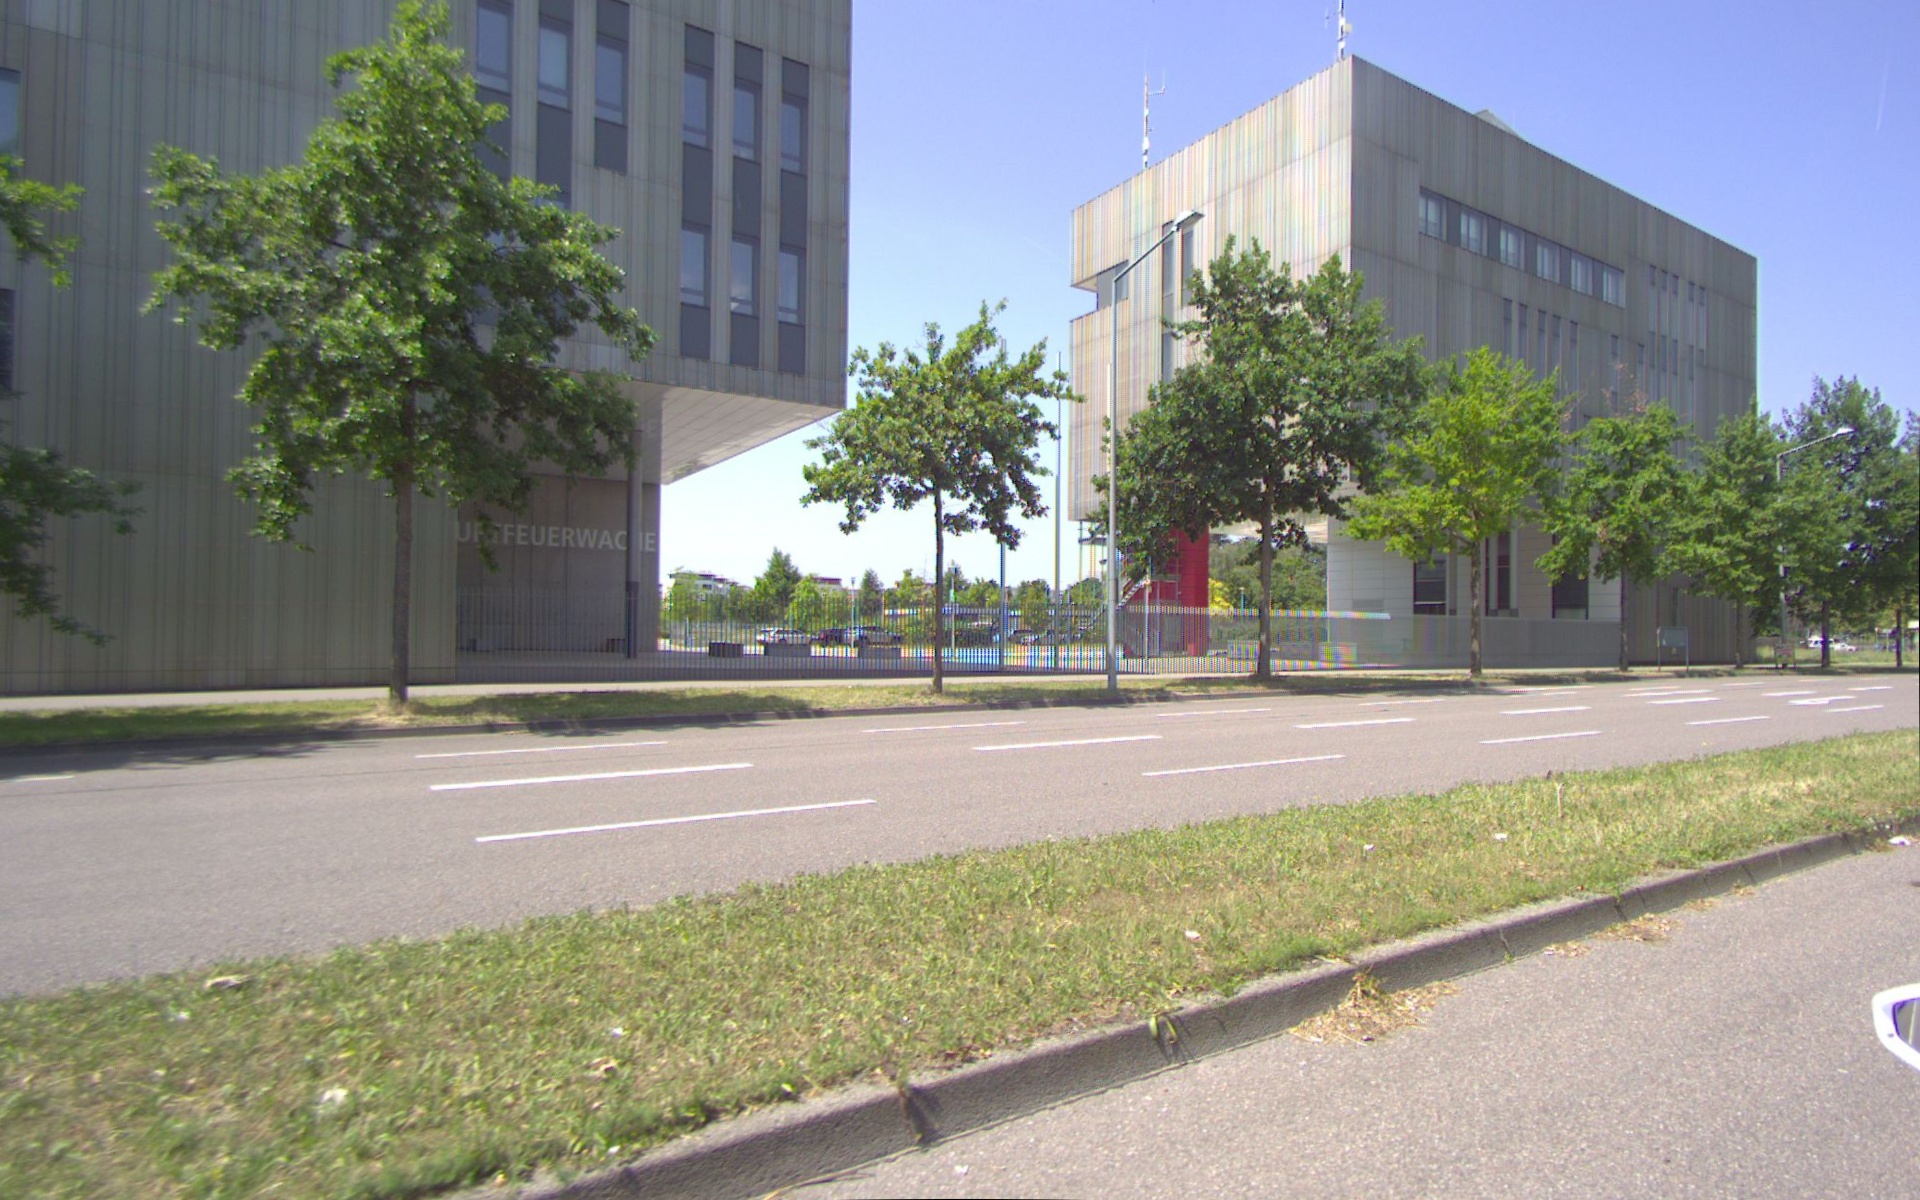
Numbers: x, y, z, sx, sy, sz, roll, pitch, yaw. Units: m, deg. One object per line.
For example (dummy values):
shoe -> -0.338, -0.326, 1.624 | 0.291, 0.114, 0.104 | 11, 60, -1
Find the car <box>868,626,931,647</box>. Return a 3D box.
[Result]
car -> -4.174, 2.504, 69.562 | 3.954, 1.405, 1.984 | 1, -1, -31

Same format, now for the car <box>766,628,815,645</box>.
car -> -14.144, 3.045, 83.919 | 3.731, 1.428, 1.648 | 1, -1, -31

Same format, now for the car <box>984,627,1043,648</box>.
car -> 4.433, 3.079, 82.739 | 4.470, 1.603, 2.013 | 1, -1, -31

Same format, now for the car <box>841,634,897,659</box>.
car -> -6.550, 3.316, 72.428 | 3.731, 1.719, 1.648 | 1, -1, -31
